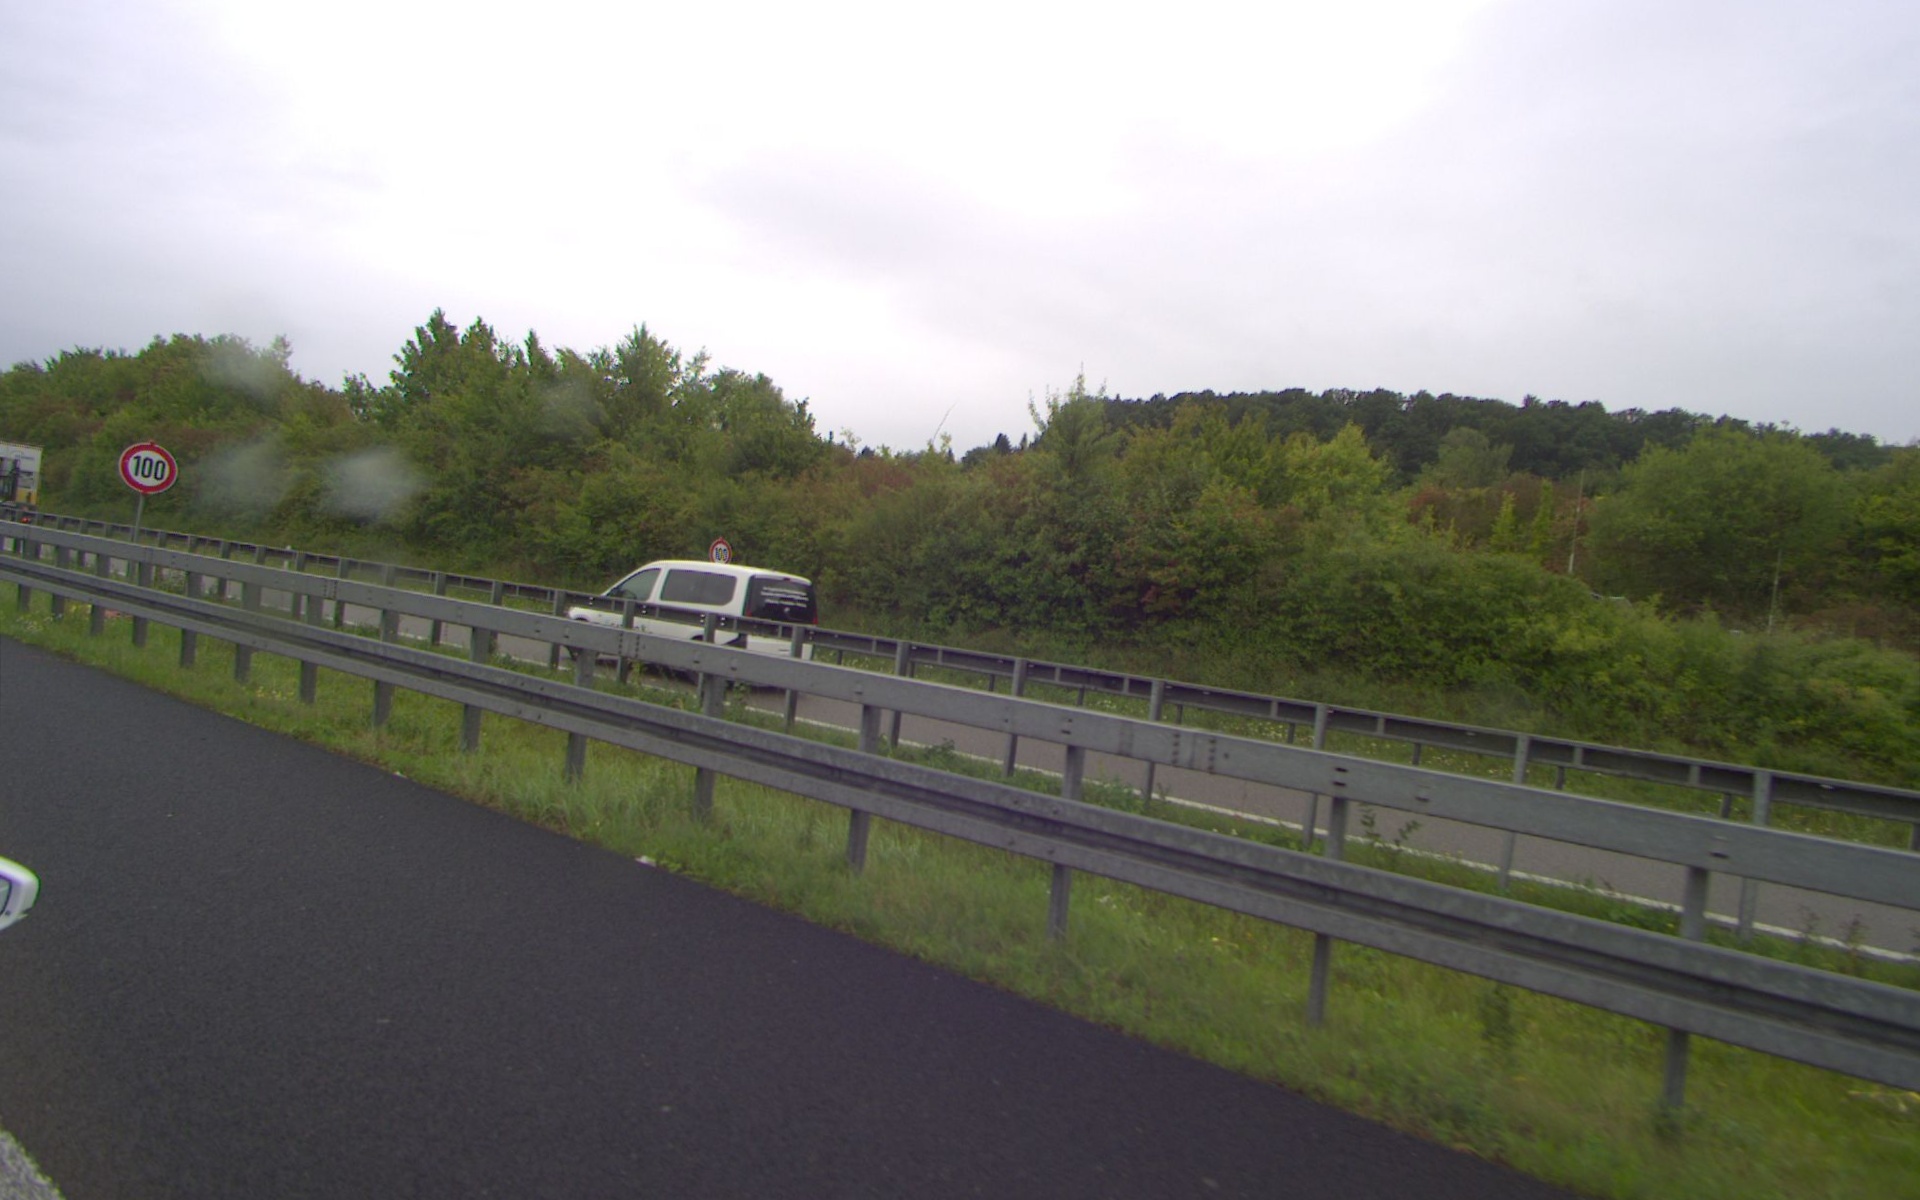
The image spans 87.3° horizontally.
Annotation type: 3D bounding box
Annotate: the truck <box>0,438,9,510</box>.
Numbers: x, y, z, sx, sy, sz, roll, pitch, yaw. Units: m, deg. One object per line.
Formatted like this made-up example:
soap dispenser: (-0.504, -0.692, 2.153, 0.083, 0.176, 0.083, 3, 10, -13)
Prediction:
truck: (-54.694, -6.837, 53.470, 10.249, 4.341, 3.441, 7, -1, 33)

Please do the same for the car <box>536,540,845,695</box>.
car: (-4.278, 0.246, 15.759, 4.569, 1.826, 1.863, 7, -1, 30)

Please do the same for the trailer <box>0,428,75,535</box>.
trailer: (-46.191, -5.807, 47.764, 10.285, 4.341, 3.441, 7, -1, 34)
